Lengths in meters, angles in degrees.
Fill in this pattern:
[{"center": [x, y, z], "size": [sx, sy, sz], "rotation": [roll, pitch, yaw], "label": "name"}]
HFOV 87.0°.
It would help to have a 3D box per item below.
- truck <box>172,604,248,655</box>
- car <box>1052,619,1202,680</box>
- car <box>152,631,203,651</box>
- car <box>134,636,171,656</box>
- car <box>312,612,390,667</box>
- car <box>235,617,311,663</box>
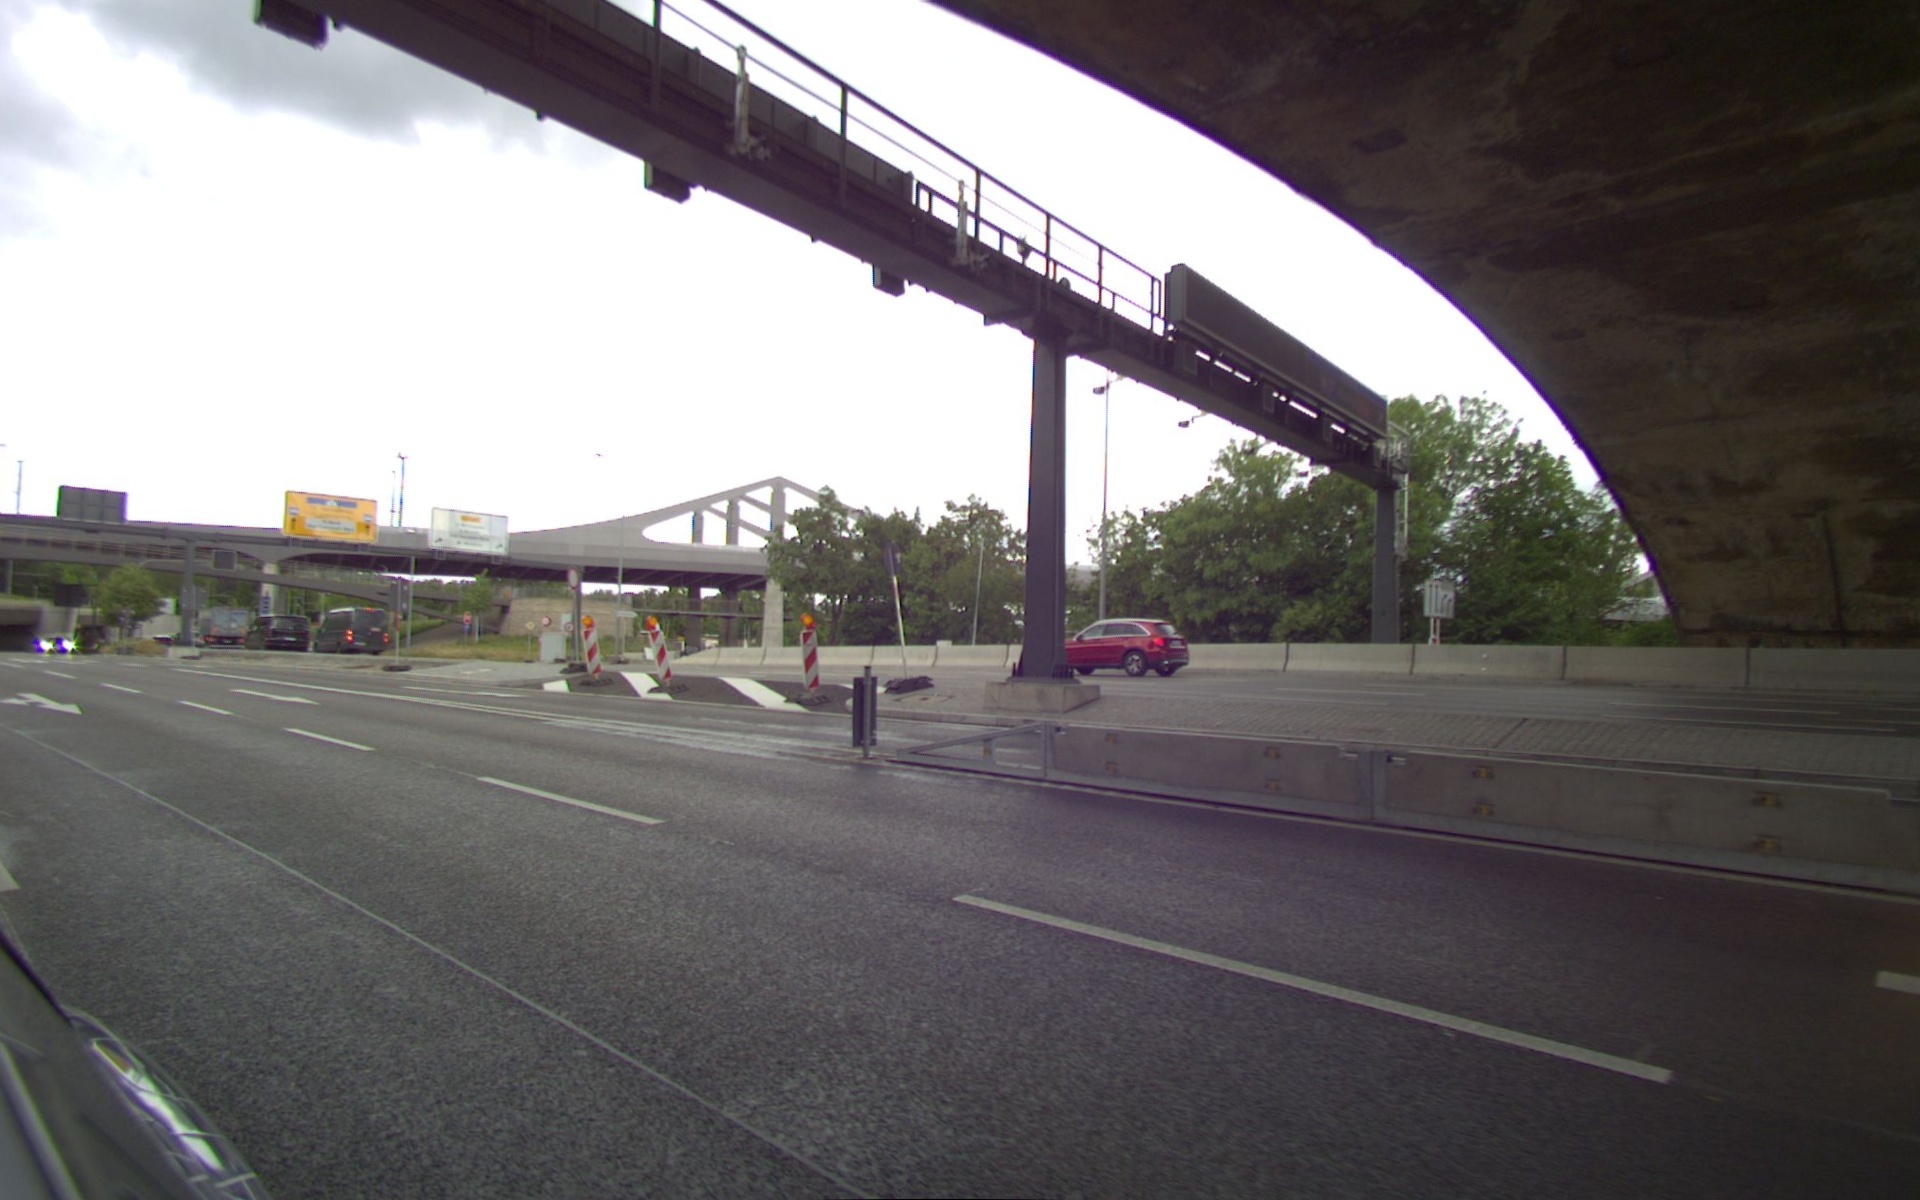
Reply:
[{"center": [-66.404, 2.721, 89.417], "size": [13.990, 4.093, 2.867], "rotation": [-3, -6, 44], "label": "truck"}, {"center": [4.784, 1.435, 29.325], "size": [3.996, 1.629, 1.679], "rotation": [-3, -3, 42], "label": "car"}, {"center": [-56.007, 2.935, 72.423], "size": [4.252, 1.341, 1.867], "rotation": [-1, -5, 39], "label": "car"}, {"center": [-73.376, 4.181, 91.979], "size": [4.449, 1.633, 1.688], "rotation": [-2, -8, 41], "label": "car"}, {"center": [-33.660, 2.105, 55.848], "size": [2.189, 2.798, 6.148], "rotation": [2, -2, -45], "label": "car"}, {"center": [-35.529, 2.046, 52.269], "size": [5.188, 2.029, 1.942], "rotation": [3, -1, 41], "label": "car"}]
